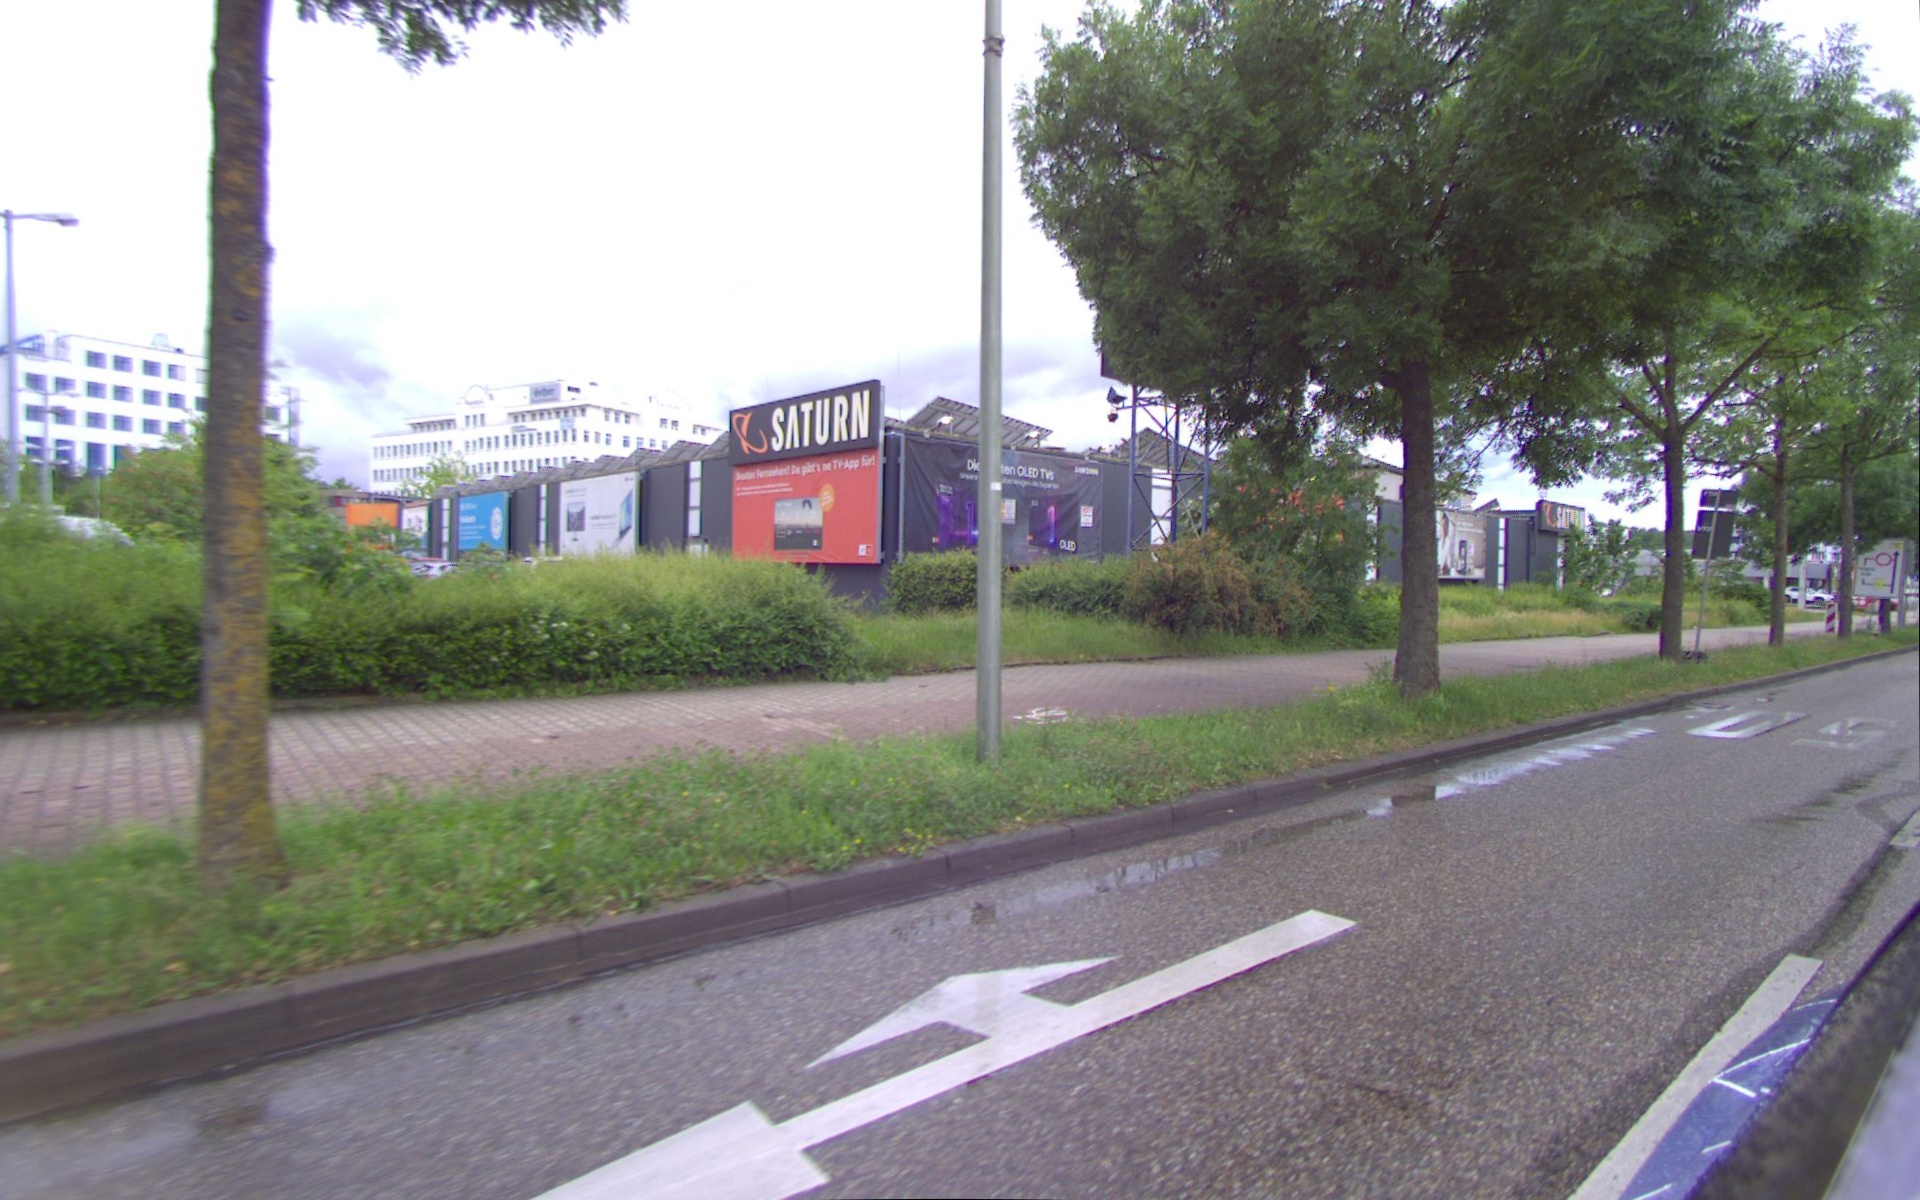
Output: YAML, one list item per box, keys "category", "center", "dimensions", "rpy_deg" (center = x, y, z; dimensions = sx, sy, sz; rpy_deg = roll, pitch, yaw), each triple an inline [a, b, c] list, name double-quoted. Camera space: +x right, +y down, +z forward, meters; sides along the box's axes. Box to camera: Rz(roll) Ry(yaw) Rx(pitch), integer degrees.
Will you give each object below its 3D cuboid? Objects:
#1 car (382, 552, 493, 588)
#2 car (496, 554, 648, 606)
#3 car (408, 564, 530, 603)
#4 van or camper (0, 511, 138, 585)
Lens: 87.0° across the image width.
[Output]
- category: "car"
  center: [-24.661, -1.387, 47.835]
  dimensions: [4.292, 1.593, 1.906]
  rpy_deg: [0, 2, -44]
- category: "car"
  center: [-12.720, -0.659, 33.350]
  dimensions: [4.292, 1.593, 1.906]
  rpy_deg: [0, 2, -44]
- category: "car"
  center: [-20.784, -0.698, 42.964]
  dimensions: [4.292, 1.593, 1.906]
  rpy_deg: [0, 2, -44]
- category: "van or camper"
  center: [-29.842, -1.667, 32.788]
  dimensions: [4.936, 2.282, 2.153]
  rpy_deg: [0, 1, -41]
